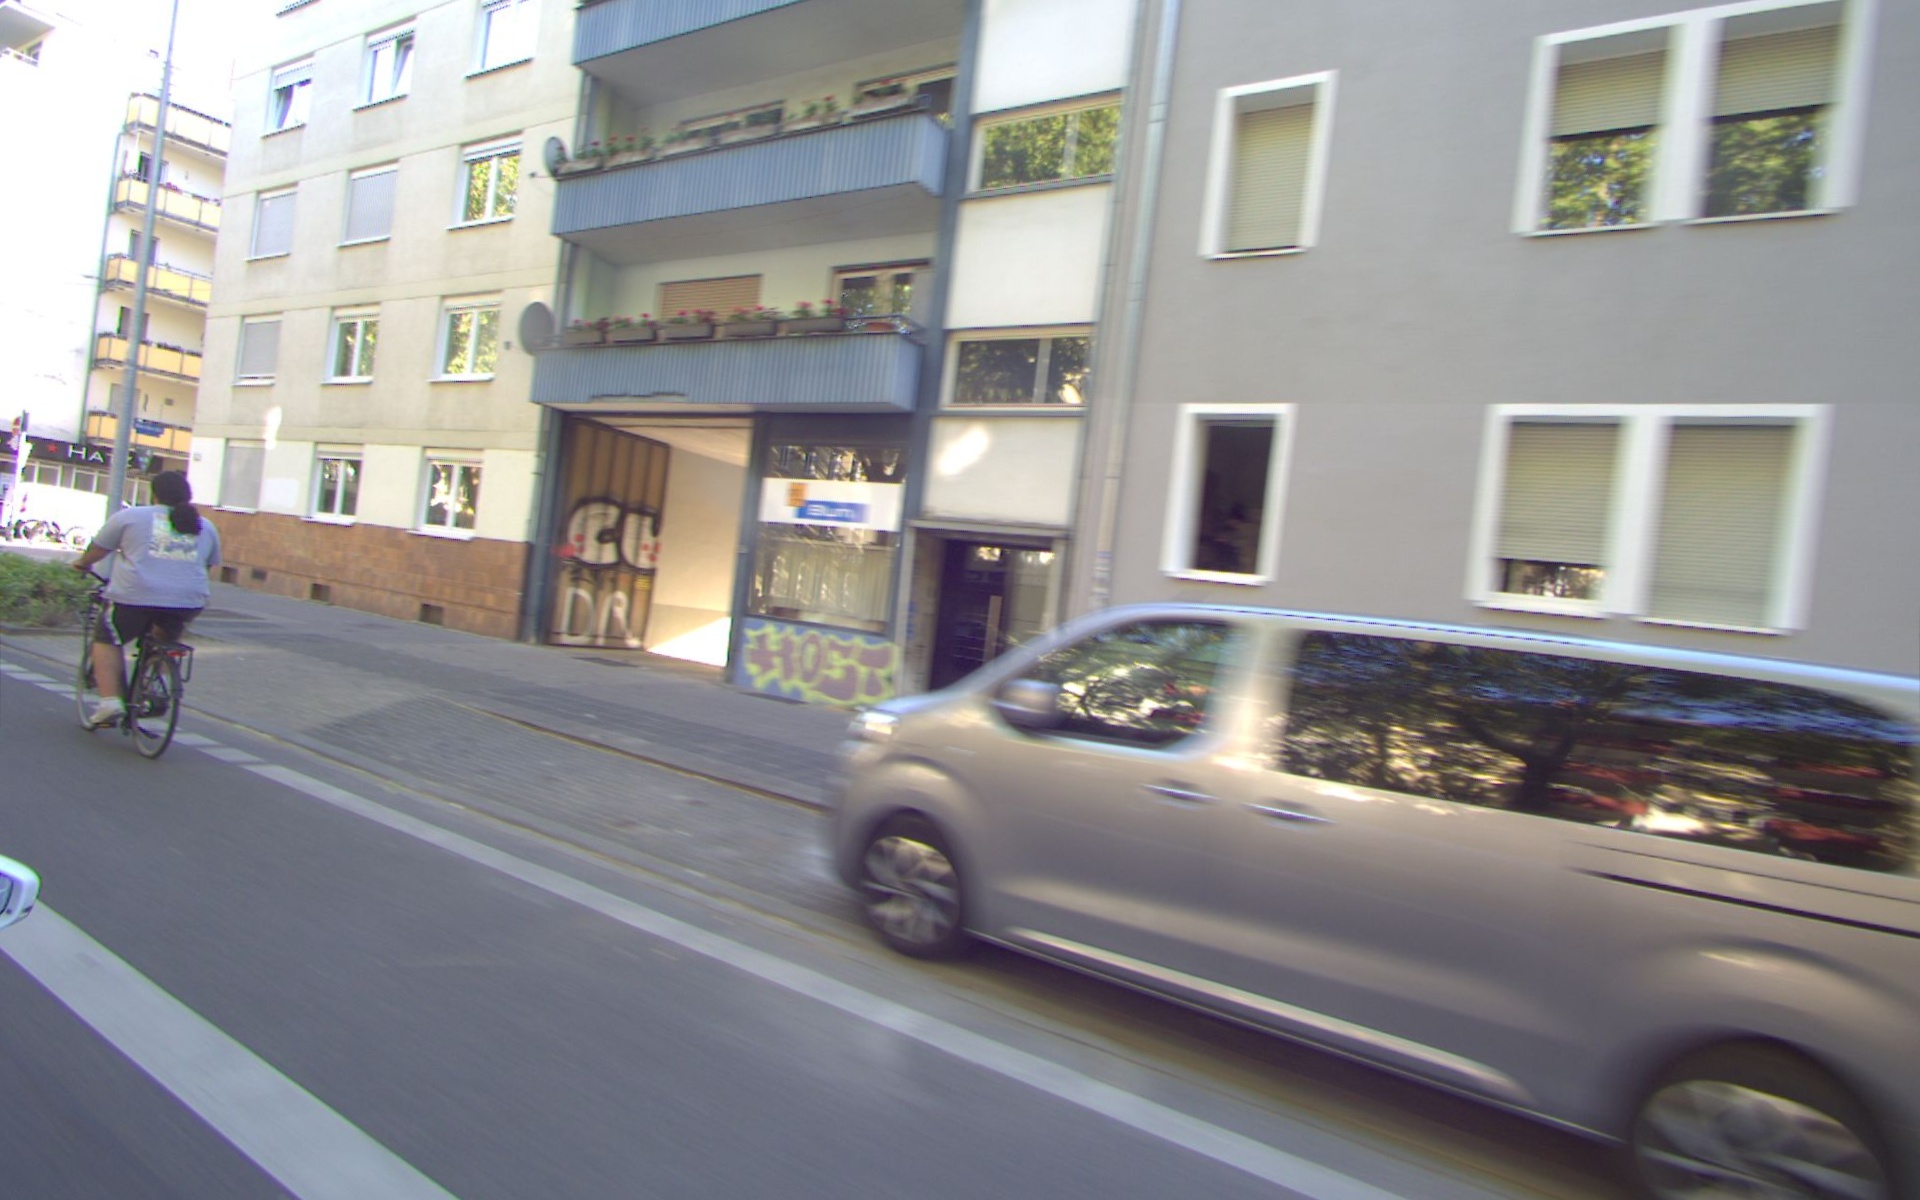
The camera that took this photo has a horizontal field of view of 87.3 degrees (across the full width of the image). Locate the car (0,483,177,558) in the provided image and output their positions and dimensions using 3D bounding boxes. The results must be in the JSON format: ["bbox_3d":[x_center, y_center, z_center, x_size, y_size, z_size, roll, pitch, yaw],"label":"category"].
[{"bbox_3d":[-30.308,-2.726,34.922,1.965,1.853,4.369,7,-1,28],"label":"car"}]

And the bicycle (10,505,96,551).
[{"bbox_3d":[-28.616,-2.259,31.777,0.692,1.130,1.837,7,0,34],"label":"bicycle"}]

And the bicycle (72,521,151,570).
[{"bbox_3d":[-22.015,-1.417,26.103,1.934,1.028,0.804,7,0,26],"label":"bicycle"}]

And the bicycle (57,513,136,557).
[{"bbox_3d":[-27.284,-2.038,31.810,0.605,1.130,1.768,7,0,44],"label":"bicycle"}]

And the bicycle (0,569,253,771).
[{"bbox_3d":[-5.864,0.455,7.003,1.957,1.104,0.702,6,-2,31],"label":"bicycle"}]

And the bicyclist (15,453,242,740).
[{"bbox_3d":[-5.649,-0.021,6.848,0.899,1.780,0.788,7,0,31],"label":"bicyclist"}]

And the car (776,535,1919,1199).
[{"bbox_3d":[1.682,0.936,4.562,4.845,1.913,1.860,7,-1,33],"label":"car"}]
